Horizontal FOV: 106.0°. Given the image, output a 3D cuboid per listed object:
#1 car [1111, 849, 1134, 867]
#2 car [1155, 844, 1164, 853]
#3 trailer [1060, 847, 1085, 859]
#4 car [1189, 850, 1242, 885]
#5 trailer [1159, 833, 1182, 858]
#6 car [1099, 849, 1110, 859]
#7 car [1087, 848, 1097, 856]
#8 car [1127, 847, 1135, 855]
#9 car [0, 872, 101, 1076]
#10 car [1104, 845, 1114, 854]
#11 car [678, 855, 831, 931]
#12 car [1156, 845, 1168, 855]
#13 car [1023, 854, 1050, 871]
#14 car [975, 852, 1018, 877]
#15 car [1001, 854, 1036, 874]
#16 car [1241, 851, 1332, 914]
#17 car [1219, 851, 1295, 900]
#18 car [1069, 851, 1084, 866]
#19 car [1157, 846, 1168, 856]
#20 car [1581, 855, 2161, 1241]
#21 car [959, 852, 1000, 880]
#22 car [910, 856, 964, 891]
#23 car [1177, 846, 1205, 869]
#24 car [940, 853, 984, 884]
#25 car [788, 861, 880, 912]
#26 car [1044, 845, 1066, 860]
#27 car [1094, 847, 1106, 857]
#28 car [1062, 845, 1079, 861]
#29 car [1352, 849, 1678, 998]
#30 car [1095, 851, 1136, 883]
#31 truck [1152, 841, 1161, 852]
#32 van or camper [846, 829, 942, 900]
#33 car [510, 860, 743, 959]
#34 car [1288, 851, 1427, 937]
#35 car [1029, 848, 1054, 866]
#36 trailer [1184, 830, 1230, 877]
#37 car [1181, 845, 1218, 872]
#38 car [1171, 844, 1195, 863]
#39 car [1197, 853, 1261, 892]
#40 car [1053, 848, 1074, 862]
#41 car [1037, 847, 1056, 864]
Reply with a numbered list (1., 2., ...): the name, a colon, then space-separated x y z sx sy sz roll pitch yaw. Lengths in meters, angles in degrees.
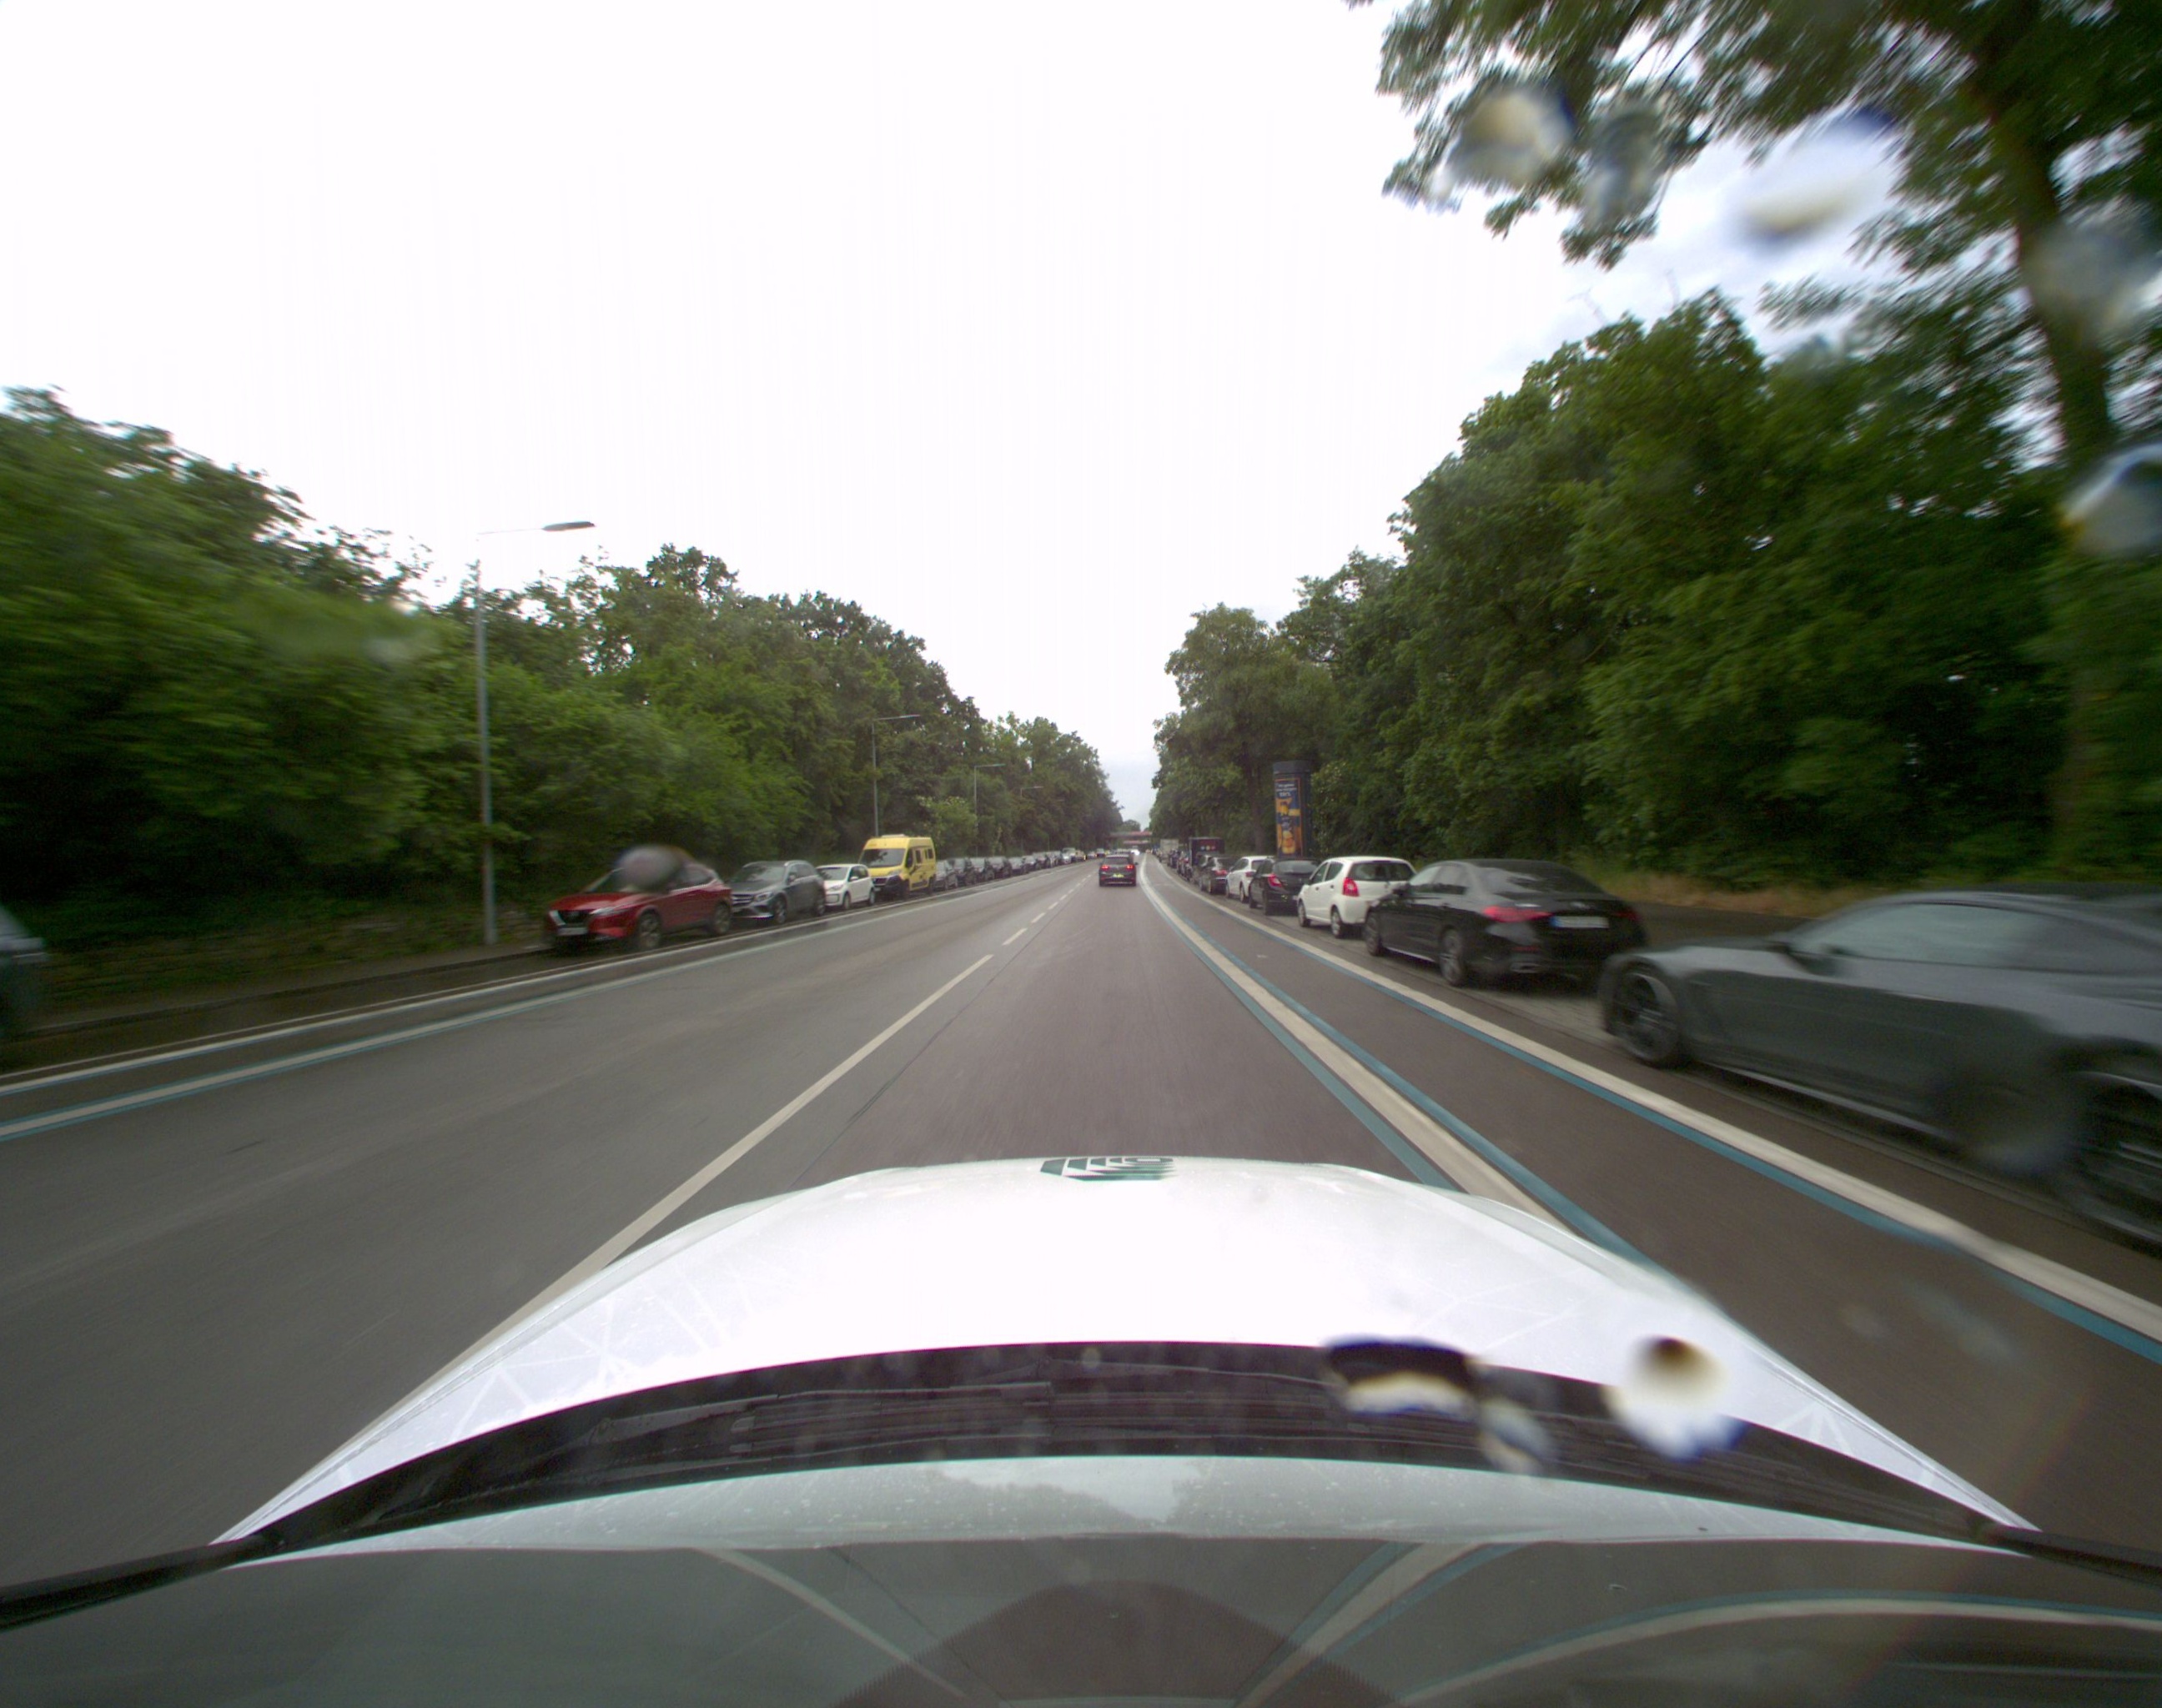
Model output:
1. car: 3.610 0.333 70.842 1.874 1.466 4.001 0 1 1
2. car: 19.068 -1.339 196.935 1.985 2.013 4.004 -2 0 3
3. trailer: -1.201 -0.127 113.193 1.609 1.628 3.696 -2 1 35
4. car: 6.040 0.572 37.024 1.815 1.485 4.201 0 0 1
5. trailer: 9.768 -0.920 88.943 2.124 2.560 4.300 -2 0 2
6. car: 5.419 -0.041 185.970 2.148 2.013 5.038 -2 0 5
7. car: 2.104 -0.382 152.770 1.665 1.513 3.634 -1 1 4
8. car: 13.000 -0.897 211.683 1.986 2.013 4.002 -1 0 2
9. car: -9.738 1.019 5.038 1.725 1.649 4.572 -1 0 1
10. car: 6.869 -1.132 202.023 2.148 2.013 5.038 -2 0 5
11. car: -8.503 0.929 21.736 1.986 1.700 4.618 -2 0 2
12. car: 13.687 -0.763 137.382 1.888 1.606 4.006 -2 1 5
13. car: -3.764 0.683 69.261 1.688 1.300 4.198 -2 1 5
14. car: -5.572 0.660 54.251 1.984 1.452 4.145 -2 1 6
15. car: -4.504 0.667 59.251 1.861 1.304 4.475 -2 1 4
16. car: 5.347 0.682 21.603 1.652 1.465 3.904 0 1 3
17. car: 5.632 0.642 26.492 1.612 1.466 4.000 0 0 0
18. car: -0.605 0.618 118.428 1.932 2.013 4.742 -2 1 2
19. car: 14.154 -0.543 141.984 1.888 1.606 4.006 -2 1 5
20. car: 4.893 0.718 4.272 1.847 1.399 4.384 0 0 0
21. car: -6.171 0.708 49.687 1.595 1.510 3.983 -2 1 5
22. car: -6.921 0.888 39.472 1.673 1.498 4.151 -3 0 2
23. car: 7.178 0.211 53.445 1.607 1.470 4.006 -1 0 5
24. car: -6.448 0.771 44.340 1.595 1.510 3.144 -2 1 5
25. car: -8.092 1.018 27.010 1.610 1.448 3.662 -3 0 5
26. car: -2.863 -0.207 91.022 1.871 1.561 4.474 -2 0 5
27. car: 4.239 -0.404 177.868 2.148 2.013 5.038 -2 0 5
28. car: -1.340 -0.142 107.851 1.932 2.013 4.742 -2 1 2
29. car: 5.130 0.684 10.524 1.849 1.455 4.754 -1 0 2
30. car: 1.663 0.637 38.968 1.864 1.441 4.298 0 -1 2
31. truck: 19.601 -1.937 211.977 2.103 2.598 4.307 -2 0 5
32. van or camper: -7.536 0.366 33.540 2.133 2.627 5.690 -2 0 5
33. car: -8.999 1.003 16.683 1.910 1.617 4.495 -3 0 5
34. car: 5.285 0.692 16.028 1.554 1.460 3.677 -1 0 1
35. car: -3.623 0.262 74.463 1.688 1.584 4.144 -2 0 5
36. trailer: 6.491 -0.042 42.441 1.898 2.247 4.773 -1 1 4
37. car: 6.904 0.243 47.824 1.787 1.450 4.433 -2 0 3
38. car: 8.273 -0.051 66.101 1.674 1.481 4.323 -1 1 4
39. car: 5.626 0.660 31.390 1.745 1.393 4.447 0 0 1
40. car: -2.056 0.094 97.487 1.984 1.488 4.474 -2 0 5
41. car: -3.327 0.165 78.874 1.454 1.571 2.987 -2 0 3
